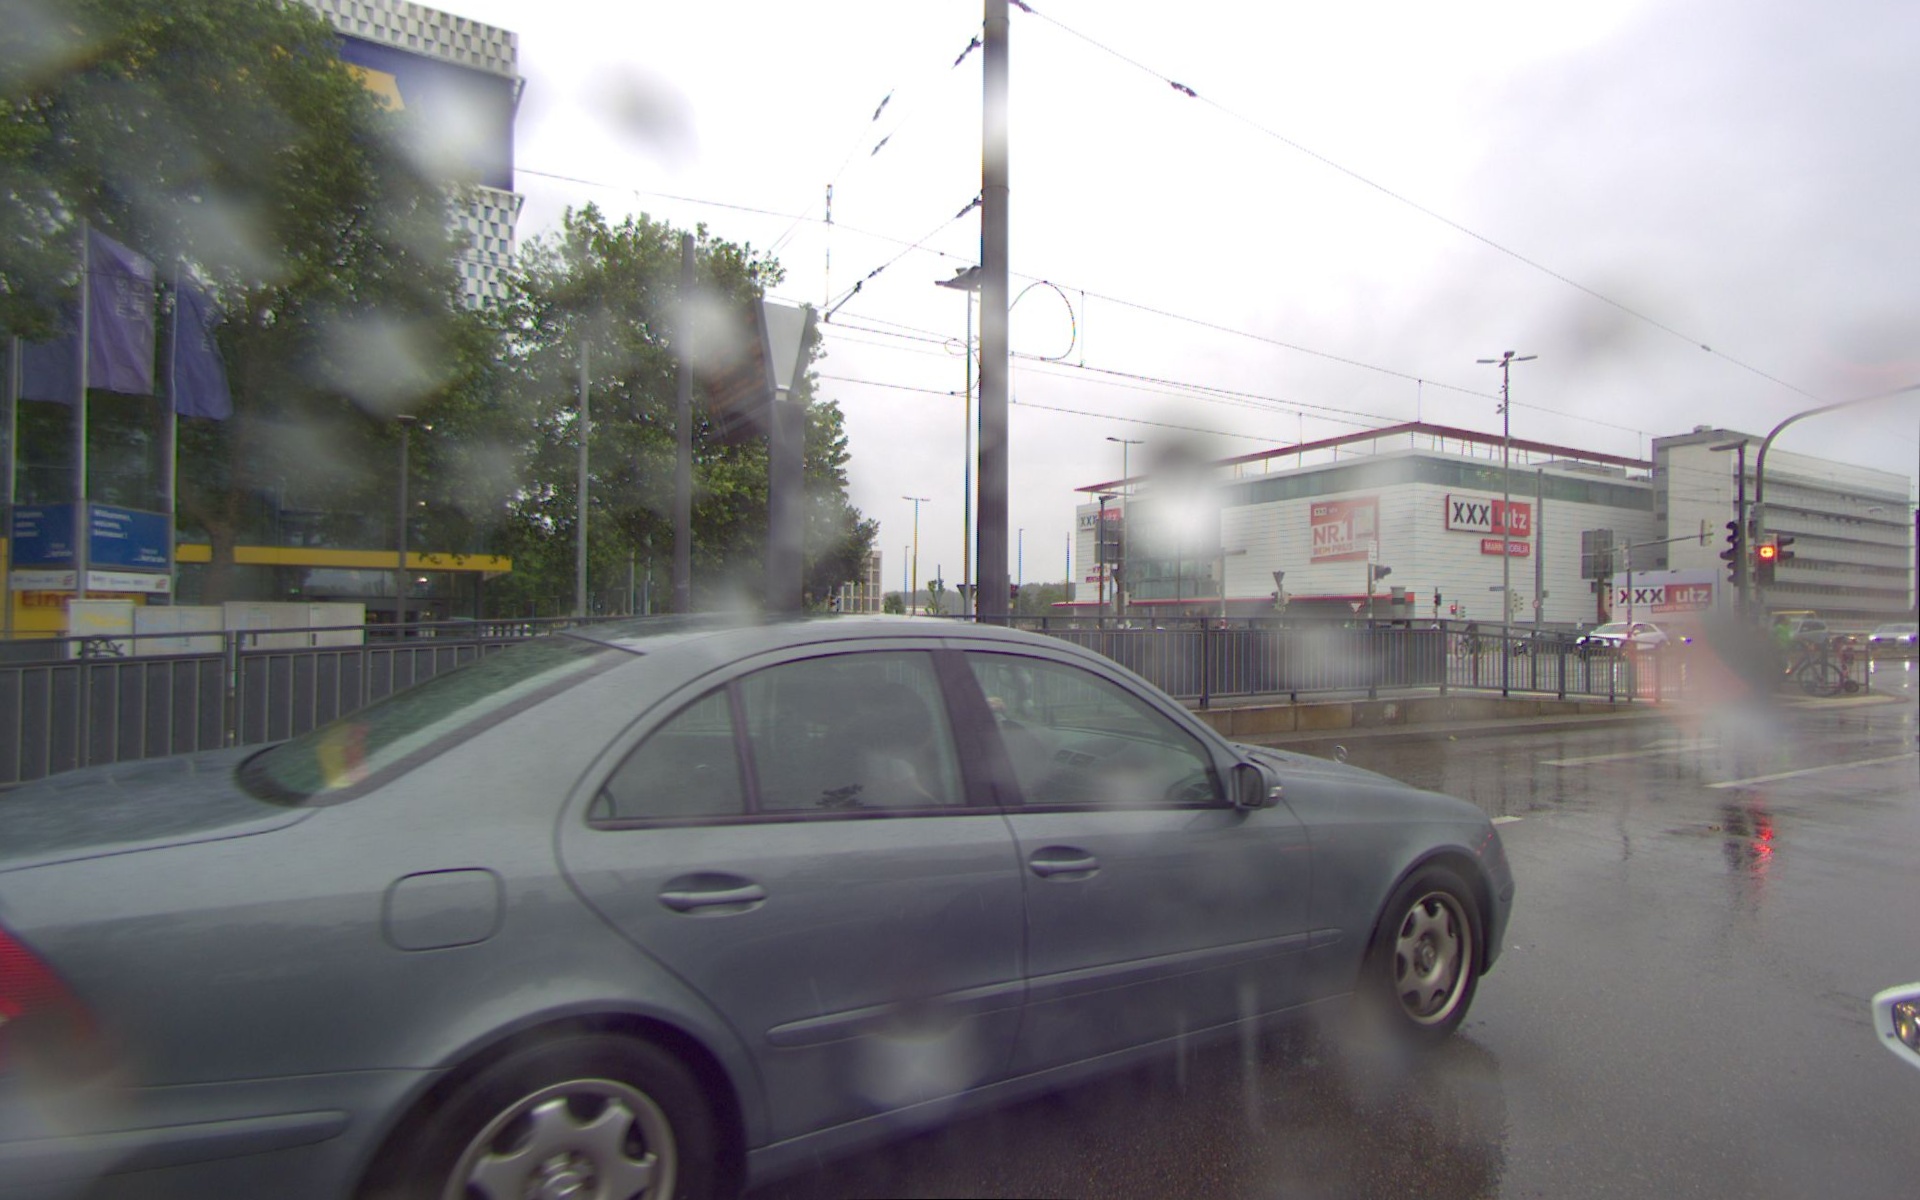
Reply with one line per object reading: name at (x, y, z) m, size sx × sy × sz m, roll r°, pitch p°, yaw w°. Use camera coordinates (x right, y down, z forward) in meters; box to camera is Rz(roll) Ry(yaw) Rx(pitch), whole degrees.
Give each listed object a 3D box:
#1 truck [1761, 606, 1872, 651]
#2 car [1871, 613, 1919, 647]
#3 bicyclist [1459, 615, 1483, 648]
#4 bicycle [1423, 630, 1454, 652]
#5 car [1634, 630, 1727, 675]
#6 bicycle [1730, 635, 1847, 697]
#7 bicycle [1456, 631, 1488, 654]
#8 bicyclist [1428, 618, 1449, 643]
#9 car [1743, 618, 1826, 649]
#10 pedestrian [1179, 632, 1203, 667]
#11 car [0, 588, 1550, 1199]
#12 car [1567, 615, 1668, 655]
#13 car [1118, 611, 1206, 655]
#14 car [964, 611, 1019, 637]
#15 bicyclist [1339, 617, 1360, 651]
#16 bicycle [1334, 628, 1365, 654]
truck at (48.169, 1.613, 56.438) m, size 7.542 × 2.309 × 2.341 m, roll 2°, pitch 0°, yaw -30°
car at (50.550, 1.620, 53.357) m, size 3.947 × 1.722 × 1.886 m, roll 2°, pitch 0°, yaw -26°
bicyclist at (23.395, 1.426, 45.998) m, size 0.639 × 1.483 × 0.681 m, roll 2°, pitch 0°, yaw -29°
bicycle at (23.169, 1.987, 48.628) m, size 1.688 × 1.000 × 0.448 m, roll 2°, pitch 0°, yaw -30°
car at (35.522, 2.558, 49.531) m, size 3.948 × 1.929 × 1.986 m, roll 1°, pitch 5°, yaw -27°
bicycle at (16.825, 1.318, 20.438) m, size 0.409 × 1.048 × 1.742 m, roll 2°, pitch 3°, yaw -31°
bicycle at (23.465, 1.942, 46.039) m, size 1.688 × 1.000 × 0.448 m, roll 2°, pitch 0°, yaw -30°
bicyclist at (23.190, 1.480, 48.691) m, size 0.639 × 1.149 × 0.681 m, roll 2°, pitch 0°, yaw -29°
car at (38.940, 1.577, 47.452) m, size 3.780 × 1.354 × 1.582 m, roll 2°, pitch 0°, yaw -26°
pedestrian at (10.426, 2.236, 45.274) m, size 0.863 × 1.557 × 0.560 m, roll 2°, pitch 0°, yaw -31°
car at (-0.222, 0.763, 3.290) m, size 4.593 × 1.417 × 1.753 m, roll 2°, pitch 0°, yaw -32°
car at (26.905, 1.430, 41.087) m, size 3.823 × 1.512 × 1.693 m, roll 2°, pitch 0°, yaw -25°
car at (10.045, 1.623, 50.246) m, size 1.976 × 2.040 × 4.295 m, roll 2°, pitch 0°, yaw -29°
car at (2.190, 1.675, 70.211) m, size 3.723 × 1.645 × 2.001 m, roll 2°, pitch 0°, yaw 2°
bicyclist at (16.585, 1.433, 42.773) m, size 0.643 × 1.418 × 0.529 m, roll 2°, pitch 0°, yaw -33°
bicycle at (16.592, 1.763, 42.802) m, size 1.493 × 1.075 × 0.408 m, roll 2°, pitch 0°, yaw -33°
